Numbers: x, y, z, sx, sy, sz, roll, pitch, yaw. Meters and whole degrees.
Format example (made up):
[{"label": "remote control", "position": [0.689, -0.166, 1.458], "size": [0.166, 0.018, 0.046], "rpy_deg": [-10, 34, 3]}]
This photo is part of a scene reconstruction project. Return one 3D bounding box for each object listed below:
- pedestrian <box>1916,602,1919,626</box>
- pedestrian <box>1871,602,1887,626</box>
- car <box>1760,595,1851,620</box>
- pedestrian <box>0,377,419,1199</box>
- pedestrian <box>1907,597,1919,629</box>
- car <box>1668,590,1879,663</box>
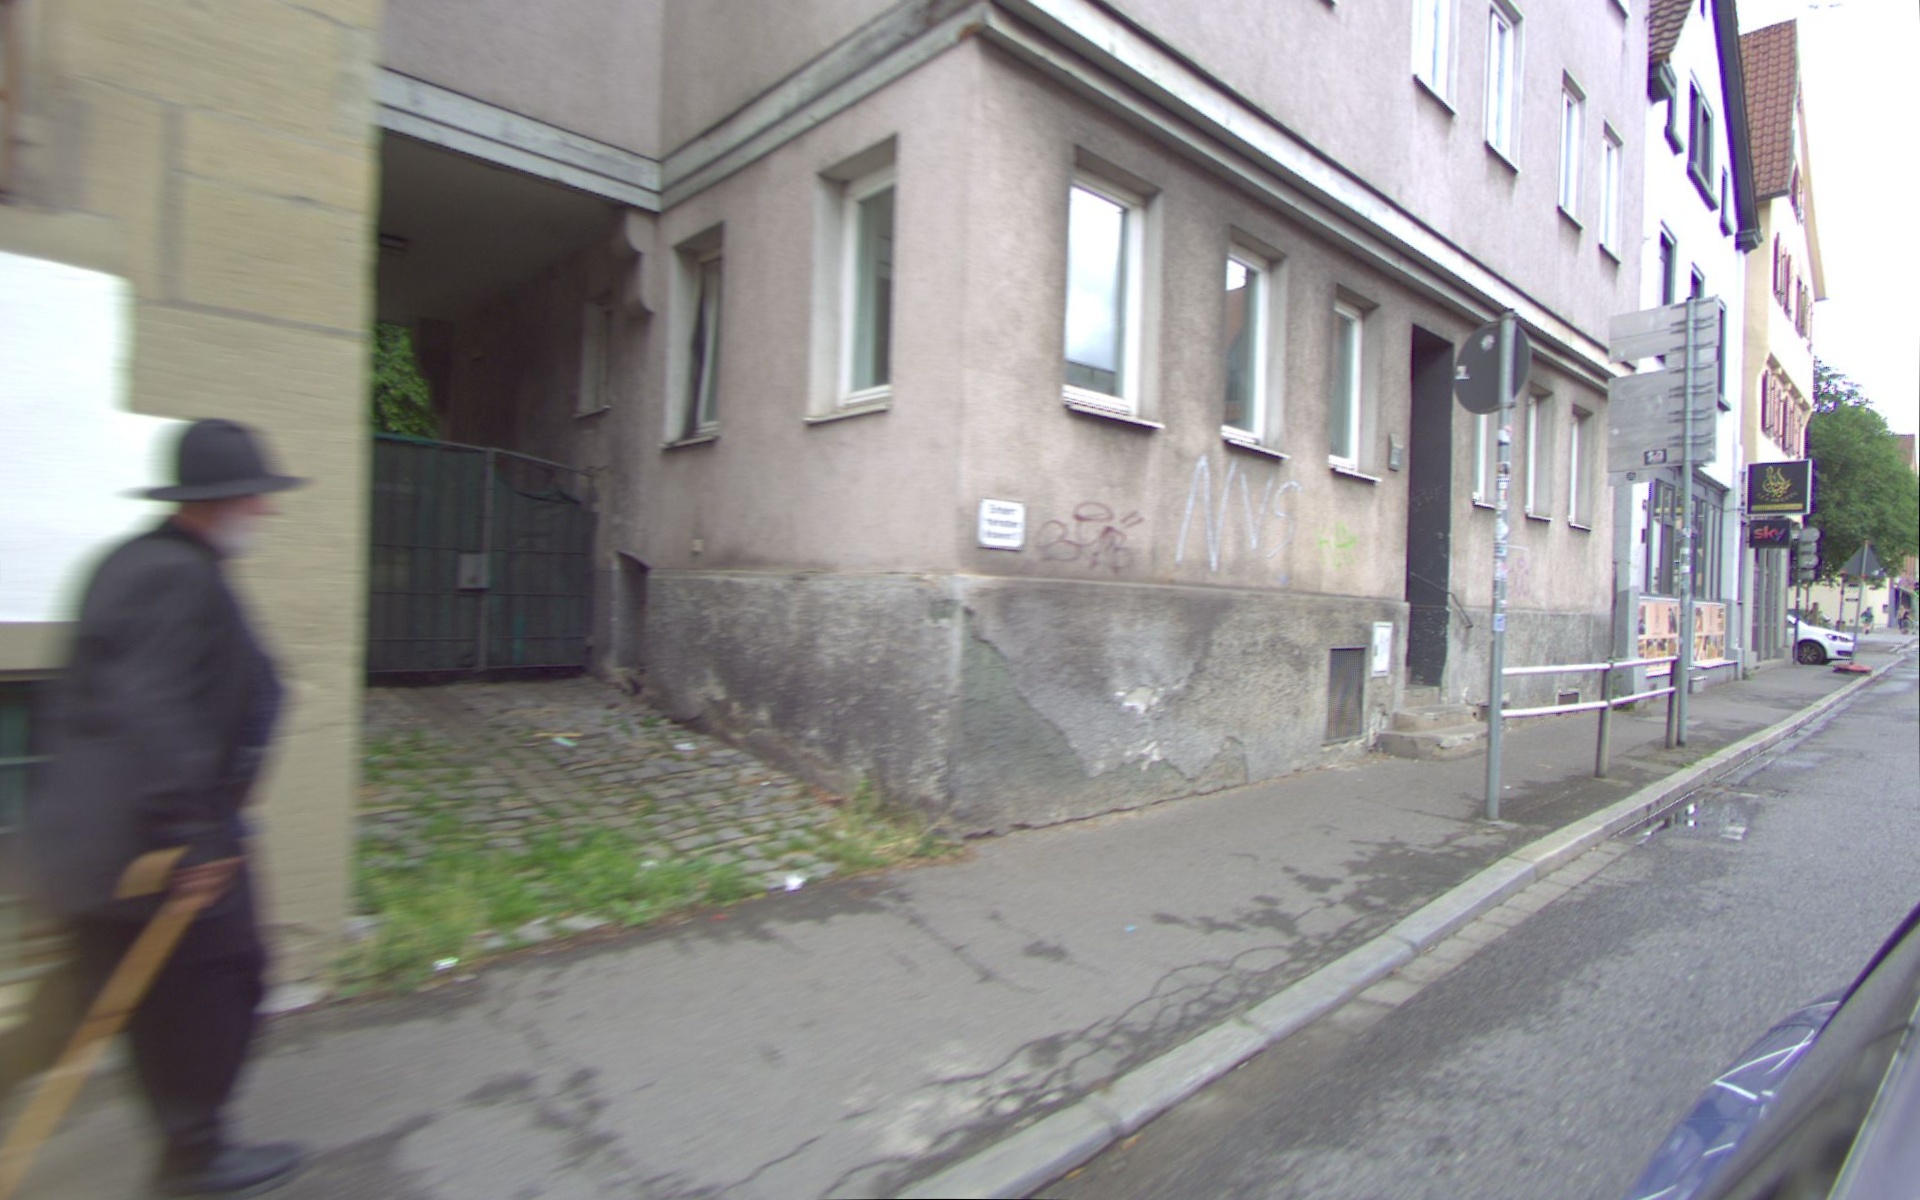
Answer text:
[{"label": "pedestrian", "position": [59.566, 0.855, 62.623], "size": [0.598, 1.462, 0.759], "rpy_deg": [2, 1, 44]}, {"label": "pedestrian", "position": [55.822, 0.842, 61.459], "size": [0.759, 1.462, 0.599], "rpy_deg": [0, 1, -43]}, {"label": "car", "position": [51.216, 0.426, 61.332], "size": [1.965, 1.482, 3.994], "rpy_deg": [0, 1, -40]}, {"label": "pedestrian", "position": [-1.776, 0.441, 2.119], "size": [0.928, 1.676, 0.833], "rpy_deg": [0, 3, -43]}, {"label": "pedestrian", "position": [65.482, 0.899, 69.445], "size": [0.635, 2.142, 0.659], "rpy_deg": [2, 0, -43]}, {"label": "car", "position": [22.958, 0.674, 28.683], "size": [1.967, 1.809, 4.457], "rpy_deg": [0, 2, -43]}]
